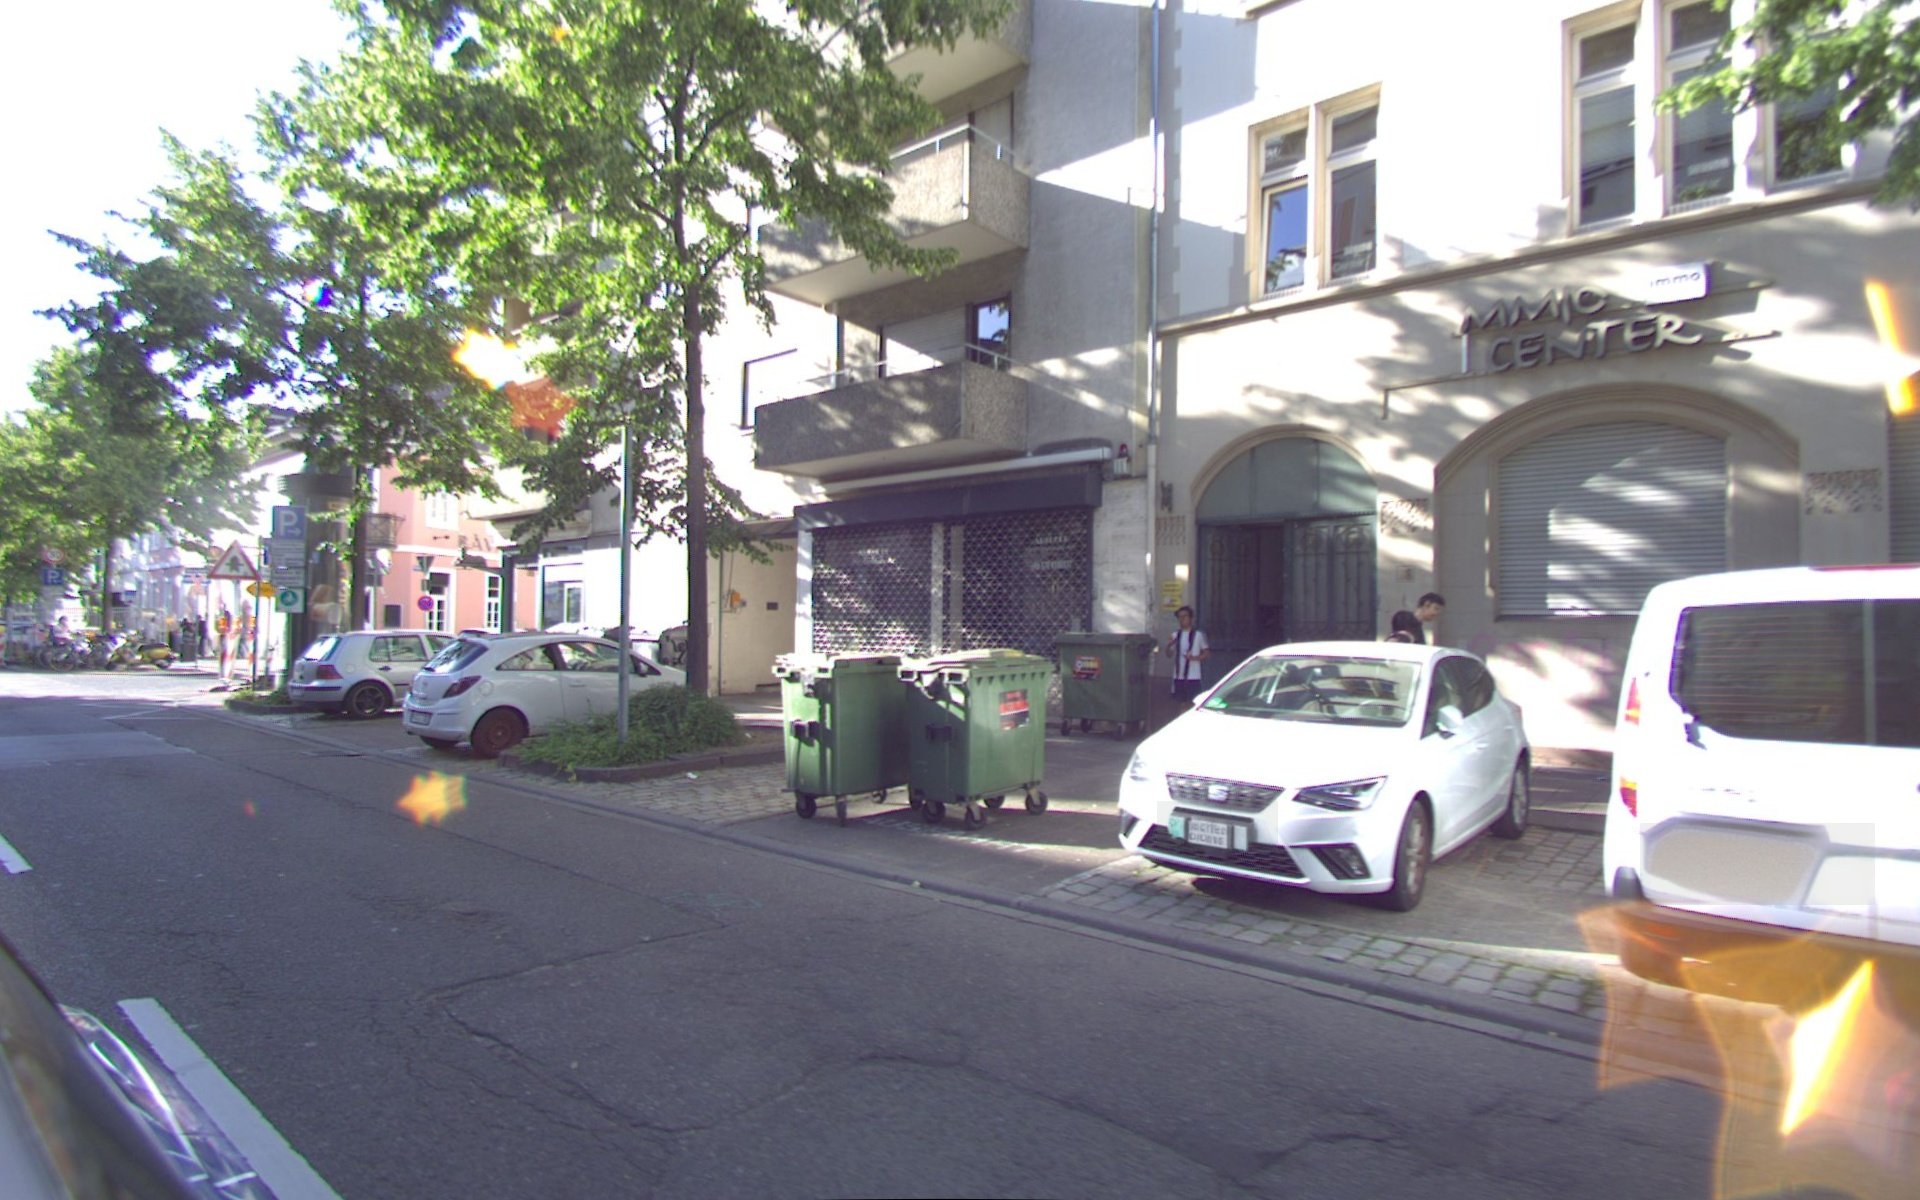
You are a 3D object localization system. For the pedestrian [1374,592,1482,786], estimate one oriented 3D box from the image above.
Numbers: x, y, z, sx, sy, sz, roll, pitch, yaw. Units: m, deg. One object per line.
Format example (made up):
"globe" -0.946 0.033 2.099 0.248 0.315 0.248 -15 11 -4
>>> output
"pedestrian" 4.598 0.833 9.930 0.762 1.779 0.767 -1 1 39

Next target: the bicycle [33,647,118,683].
"bicycle" -27.961 2.043 32.015 0.471 1.037 1.987 -1 -1 27

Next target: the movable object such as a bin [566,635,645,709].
"movable object such as a bin" -7.299 1.464 20.842 1.258 1.471 1.022 -2 -4 42

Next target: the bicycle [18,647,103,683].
"bicycle" -28.870 2.073 32.517 0.471 1.037 1.987 -1 -1 27

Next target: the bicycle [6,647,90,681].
"bicycle" -29.683 2.071 32.971 0.471 1.037 1.987 -1 -1 27

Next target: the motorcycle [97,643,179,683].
"motorcycle" -26.466 2.010 32.612 0.740 1.194 1.977 -2 -2 43

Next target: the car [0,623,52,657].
"car" -48.435 1.974 50.697 1.998 1.693 4.082 -1 -2 39

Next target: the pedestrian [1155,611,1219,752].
"pedestrian" 2.795 0.986 12.473 0.639 1.684 0.429 -2 -2 43

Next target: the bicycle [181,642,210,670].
"bicycle" -30.927 2.254 40.935 1.650 1.096 0.563 -3 -4 40

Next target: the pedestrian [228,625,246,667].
"pedestrian" -30.115 1.918 42.147 0.509 1.740 0.526 2 -3 -32

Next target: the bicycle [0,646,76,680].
"bicycle" -30.551 2.056 33.450 0.471 1.037 1.987 -1 -1 27

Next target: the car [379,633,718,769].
"car" -5.190 1.183 13.156 1.707 1.475 3.742 -2 -2 38

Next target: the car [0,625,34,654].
"car" -54.414 2.197 56.265 1.910 1.606 4.082 -1 -2 39

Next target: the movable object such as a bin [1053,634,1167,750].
"movable object such as a bin" 1.946 1.155 13.181 1.227 1.408 0.812 -1 -2 43

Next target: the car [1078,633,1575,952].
"car" 2.699 0.972 6.880 1.886 1.475 3.938 -2 -2 41

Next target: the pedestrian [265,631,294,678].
"pedestrian" -23.703 1.896 35.243 0.862 1.614 0.641 -2 -3 41

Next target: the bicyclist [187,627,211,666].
"bicyclist" -30.596 1.872 40.673 0.751 1.515 0.563 1 -2 40

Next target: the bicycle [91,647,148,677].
"bicycle" -28.067 2.074 33.816 1.493 0.958 0.360 0 -1 -8

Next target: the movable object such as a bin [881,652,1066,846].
"movable object such as a bin" 0.123 1.107 8.026 0.931 1.355 1.180 -1 -3 40

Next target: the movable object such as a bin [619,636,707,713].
"movable object such as a bin" -5.760 1.422 19.602 1.351 1.426 1.066 -2 -4 42

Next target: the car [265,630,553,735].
"car" -9.252 1.295 17.229 1.747 1.475 3.957 1 0 40

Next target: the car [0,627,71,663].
"car" -46.315 2.173 49.439 1.998 1.693 4.082 -1 -2 39

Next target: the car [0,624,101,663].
"car" -42.025 1.969 46.094 1.998 1.693 4.082 -1 -2 39

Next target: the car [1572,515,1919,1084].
"car" 4.496 0.686 4.804 2.037 1.850 4.062 -2 -2 41

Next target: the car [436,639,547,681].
"car" -17.804 2.260 38.656 1.983 1.488 3.583 0 -3 16

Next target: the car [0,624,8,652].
"car" -64.033 2.458 64.930 1.910 1.816 4.082 -1 -2 39

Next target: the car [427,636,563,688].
"car" -14.316 1.896 31.345 1.889 1.488 3.581 0 -3 18

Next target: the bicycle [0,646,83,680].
"bicycle" -30.107 2.048 33.200 0.471 1.037 1.987 -1 -1 27

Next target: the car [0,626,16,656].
"car" -58.526 2.396 59.593 1.910 1.816 4.082 -1 -2 39

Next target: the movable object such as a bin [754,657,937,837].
"movable object such as a bin" -0.916 1.134 8.301 0.869 1.312 1.225 -1 -3 40

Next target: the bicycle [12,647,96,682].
"bicycle" -29.301 2.067 32.768 0.471 1.037 1.987 -1 -1 27

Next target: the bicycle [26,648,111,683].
"bicycle" -28.419 2.066 32.295 0.471 1.037 1.987 -1 -1 27

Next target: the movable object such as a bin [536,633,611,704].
"movable object such as a bin" -8.336 1.452 21.810 1.258 1.471 1.022 -2 -4 42

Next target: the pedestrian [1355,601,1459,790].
"pedestrian" 4.119 0.841 9.322 0.726 1.639 0.560 -1 1 39
